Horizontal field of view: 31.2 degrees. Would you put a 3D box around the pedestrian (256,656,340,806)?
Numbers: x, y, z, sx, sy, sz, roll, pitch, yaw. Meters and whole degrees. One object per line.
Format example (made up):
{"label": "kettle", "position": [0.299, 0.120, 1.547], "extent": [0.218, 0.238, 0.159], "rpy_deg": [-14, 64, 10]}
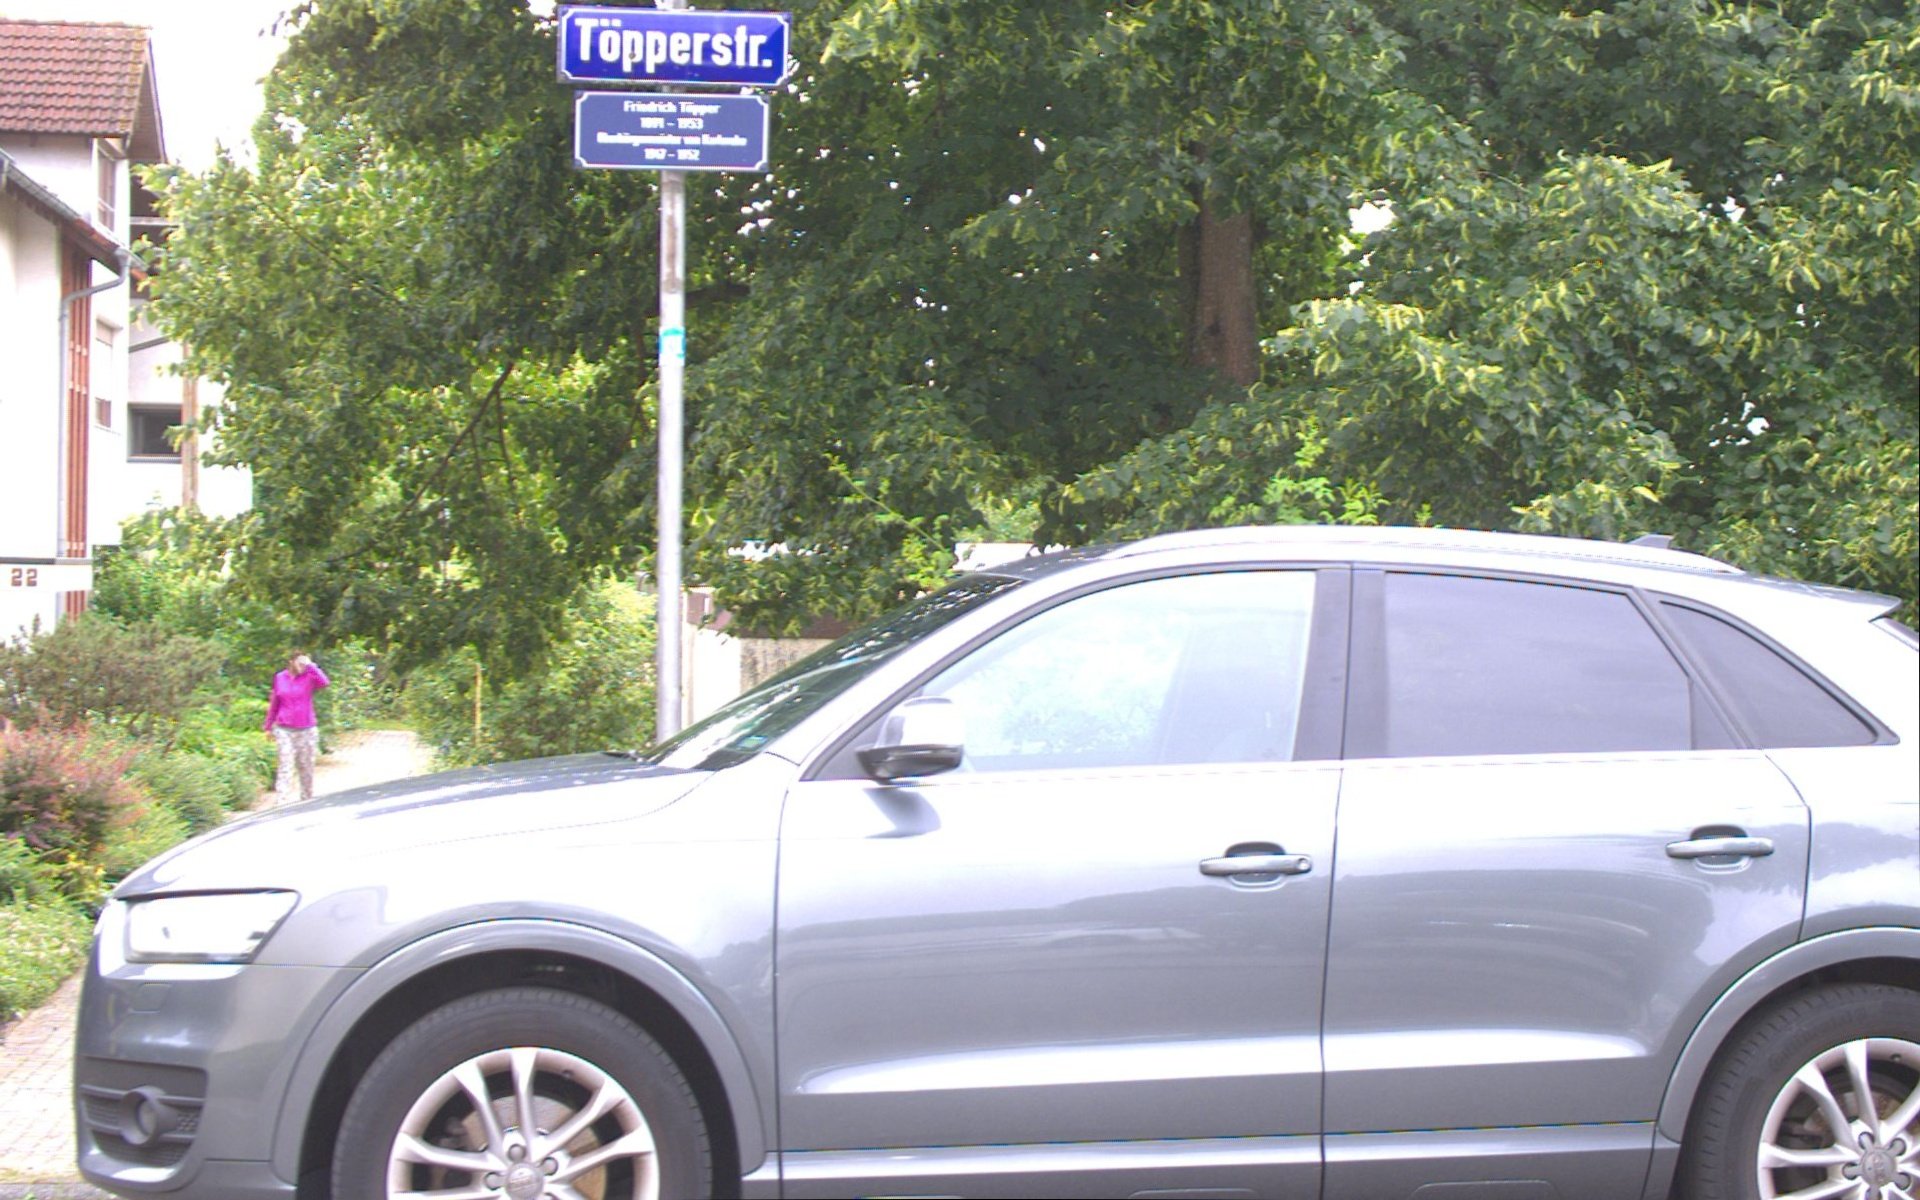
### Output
{"label": "pedestrian", "position": [-6.755, 1.337, 35.109], "extent": [0.815, 1.512, 0.438], "rpy_deg": [0, 0, -9]}

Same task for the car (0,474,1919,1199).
{"label": "car", "position": [0.349, 0.594, 7.022], "extent": [4.236, 1.526, 1.747], "rpy_deg": [1, -1, -7]}
